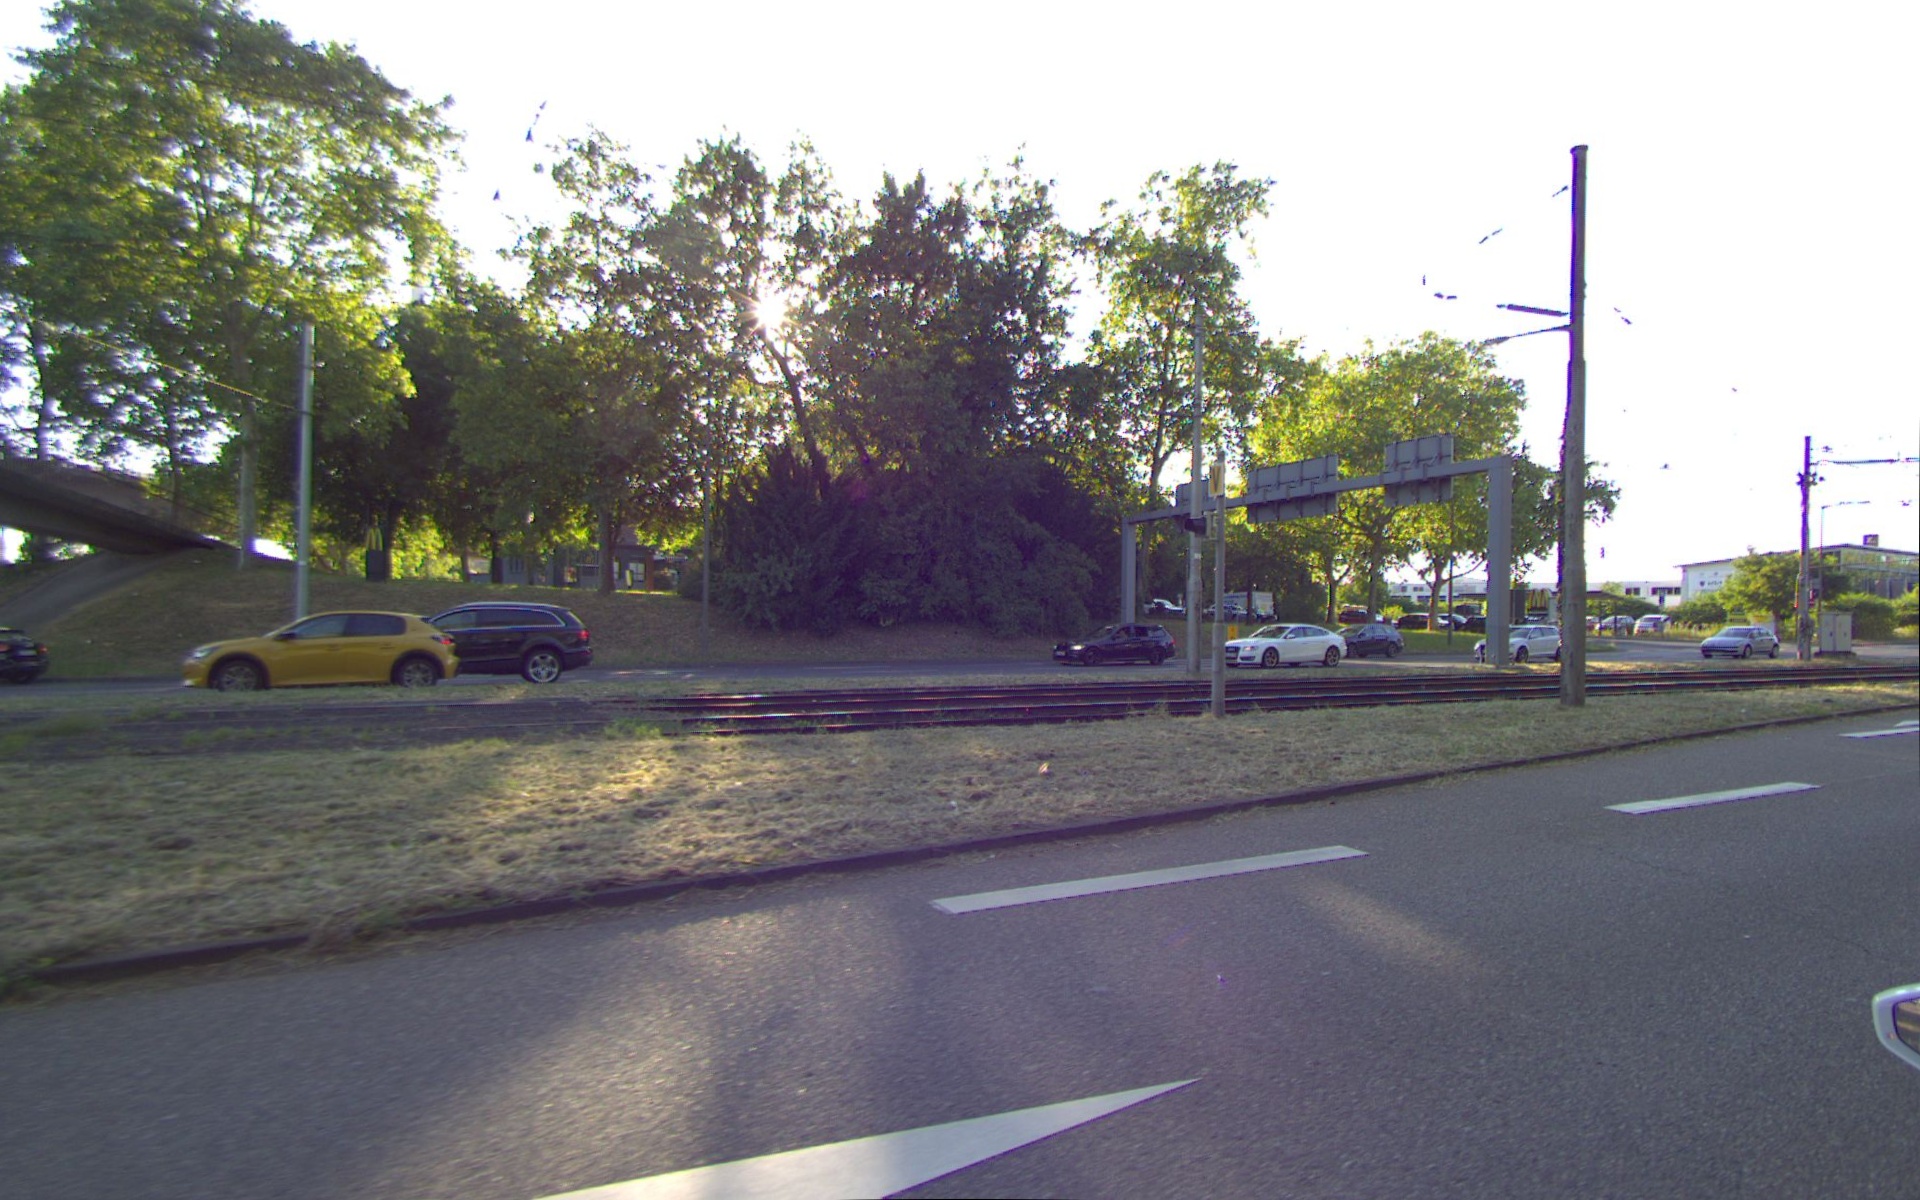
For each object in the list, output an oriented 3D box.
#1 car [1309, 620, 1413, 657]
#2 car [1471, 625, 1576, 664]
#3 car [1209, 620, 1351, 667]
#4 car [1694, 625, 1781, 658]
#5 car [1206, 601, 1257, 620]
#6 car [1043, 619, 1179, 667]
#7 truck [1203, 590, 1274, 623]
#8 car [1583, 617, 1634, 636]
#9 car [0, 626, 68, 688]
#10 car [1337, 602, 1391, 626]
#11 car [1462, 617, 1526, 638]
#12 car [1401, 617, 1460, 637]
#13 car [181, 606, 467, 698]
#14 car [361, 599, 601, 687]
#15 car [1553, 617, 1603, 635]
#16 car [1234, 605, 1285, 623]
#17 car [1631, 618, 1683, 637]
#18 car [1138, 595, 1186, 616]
[{"bbox_3d":[17.885,1.714,44.796,4.543,1.501,1.830,2,0,-29],"label":"car"},{"bbox_3d":[22.156,1.720,39.464,4.208,1.435,1.646,1,0,-30],"label":"car"},{"bbox_3d":[10.414,1.391,32.639,4.545,1.434,1.830,1,-1,-30],"label":"car"},{"bbox_3d":[36.288,1.907,46.871,4.206,1.435,1.646,1,0,-28],"label":"car"},{"bbox_3d":[21.888,0.847,81.138,1.653,1.390,3.969,1,0,-29],"label":"car"},{"bbox_3d":[5.158,1.453,34.263,4.382,1.501,1.830,2,0,-29],"label":"car"},{"bbox_3d":[30.820,0.644,111.438,2.699,3.433,8.260,1,0,-26],"label":"truck"},{"bbox_3d":[55.489,2.254,85.963,3.946,1.461,1.835,1,0,-25],"label":"car"},{"bbox_3d":[-25.015,1.371,24.783,4.122,1.434,1.687,2,0,-14],"label":"car"},{"bbox_3d":[34.242,1.164,85.191,1.973,1.884,3.976,1,-1,-24],"label":"car"},{"bbox_3d":[39.650,2.044,74.710,1.758,1.405,4.048,1,0,-21],"label":"car"},{"bbox_3d":[37.260,2.131,79.691,1.761,1.405,4.041,1,0,-26],"label":"car"},{"bbox_3d":[-10.833,0.880,17.444,3.970,1.434,1.830,2,-1,-29],"label":"car"},{"bbox_3d":[-10.067,0.880,21.269,4.383,1.677,1.830,1,0,-30],"label":"car"},{"bbox_3d":[54.496,2.280,88.570,3.946,1.461,1.835,1,0,-25],"label":"car"},{"bbox_3d":[24.661,1.146,82.800,1.653,1.277,3.969,1,0,-29],"label":"car"},{"bbox_3d":[57.367,2.287,82.663,3.946,1.461,1.835,1,0,-25],"label":"car"},{"bbox_3d":[15.543,0.395,77.468,1.832,1.550,3.983,1,0,-19],"label":"car"}]
